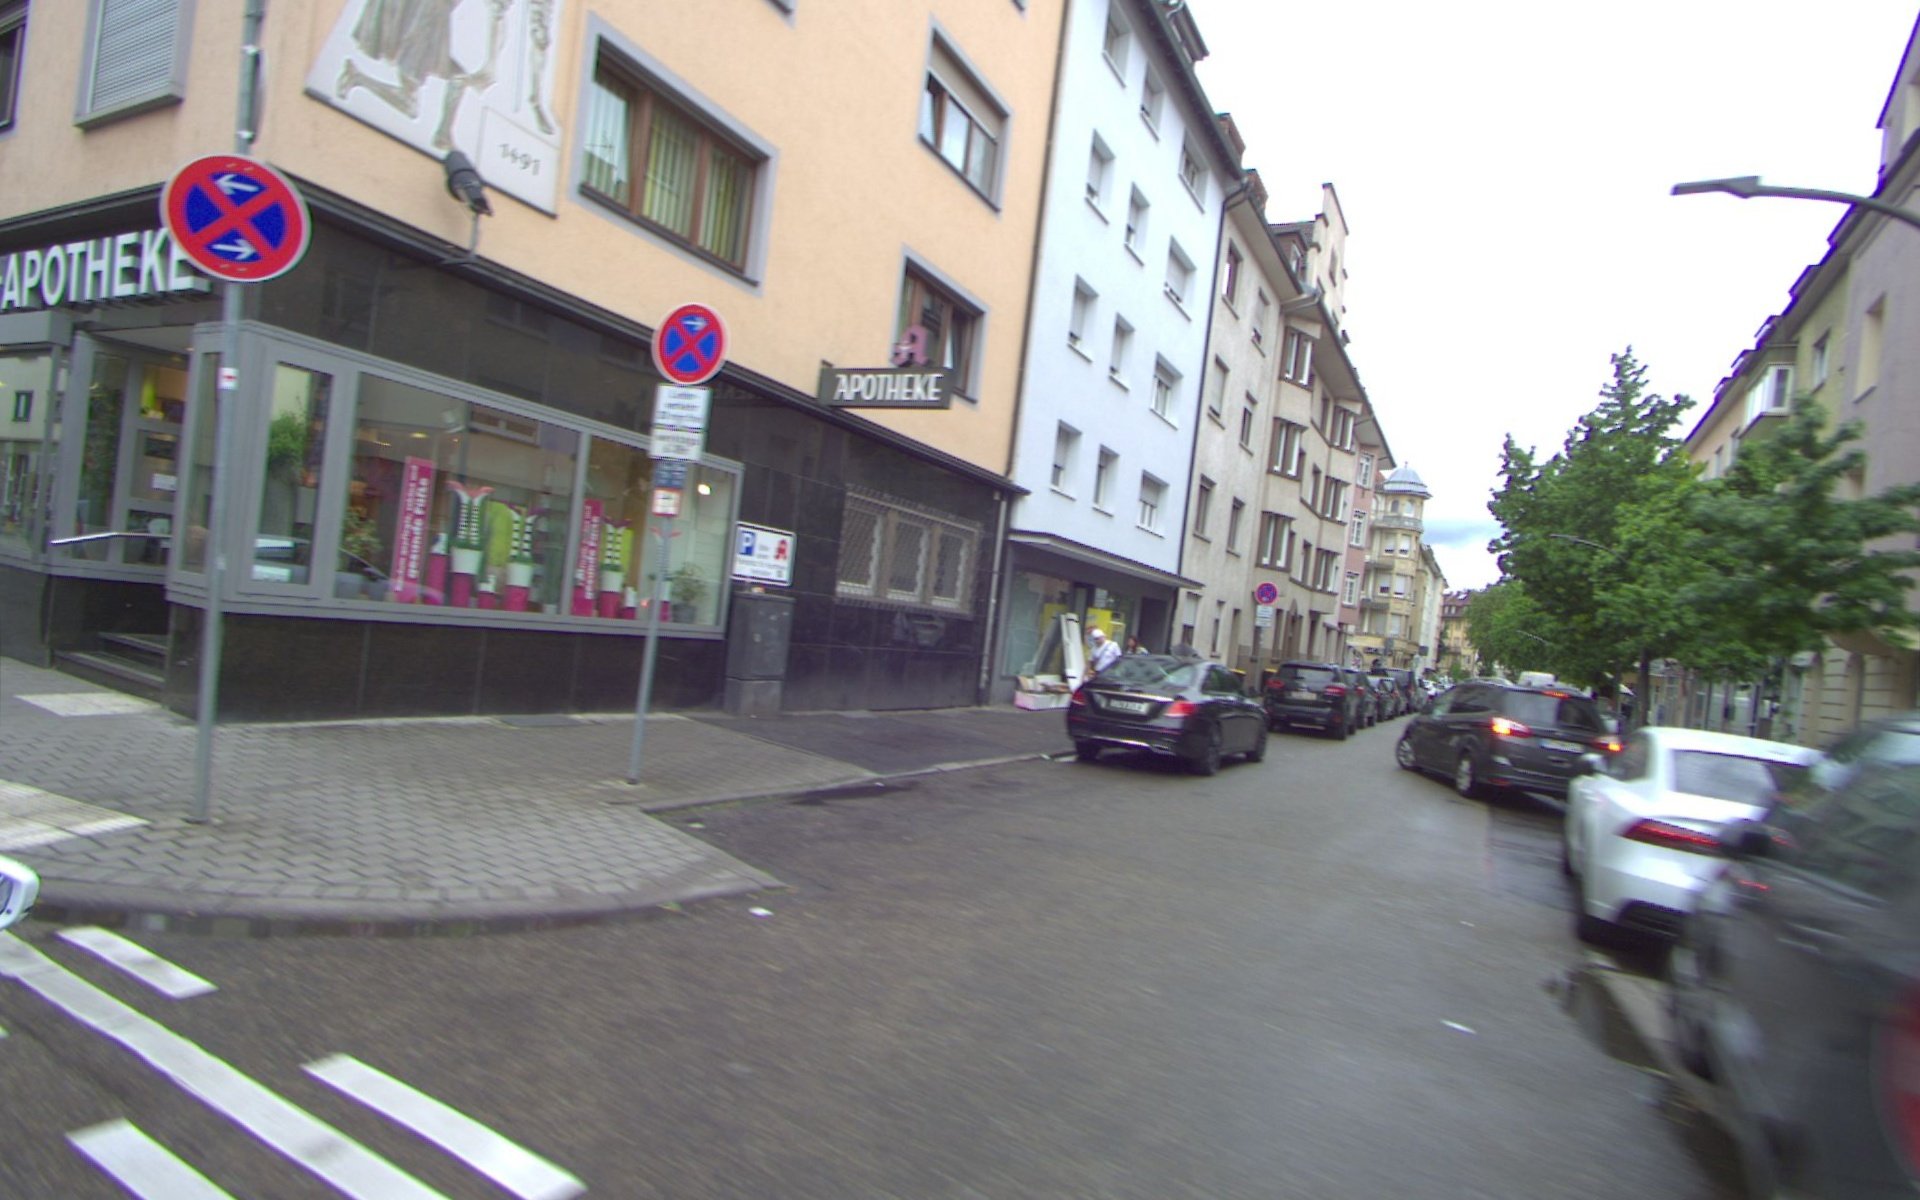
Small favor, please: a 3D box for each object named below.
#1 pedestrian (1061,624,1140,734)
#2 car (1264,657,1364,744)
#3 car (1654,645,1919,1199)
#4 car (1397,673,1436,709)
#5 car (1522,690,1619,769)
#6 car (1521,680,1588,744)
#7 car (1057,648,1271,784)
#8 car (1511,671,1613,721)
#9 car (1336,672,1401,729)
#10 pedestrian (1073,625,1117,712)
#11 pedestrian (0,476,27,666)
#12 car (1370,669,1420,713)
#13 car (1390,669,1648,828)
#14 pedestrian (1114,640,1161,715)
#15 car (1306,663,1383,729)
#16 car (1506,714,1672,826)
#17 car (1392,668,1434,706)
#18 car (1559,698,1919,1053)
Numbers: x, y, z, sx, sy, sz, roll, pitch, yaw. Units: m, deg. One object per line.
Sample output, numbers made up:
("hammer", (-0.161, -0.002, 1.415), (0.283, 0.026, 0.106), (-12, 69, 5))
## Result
("pedestrian", (2.359, 1.306, 16.837), (0.936, 1.688, 0.859), (6, 0, 25))
("car", (8.321, 2.289, 23.479), (1.662, 1.649, 3.727), (6, -1, 26))
("car", (3.220, 1.091, 2.688), (1.905, 1.593, 3.830), (6, -1, 32))
("car", (24.225, 4.793, 53.350), (1.662, 1.587, 3.727), (6, -1, 26))
("car", (15.611, 3.244, 25.911), (1.840, 1.577, 4.074), (6, -1, 29))
("car", (21.991, 4.093, 37.358), (1.840, 1.985, 4.074), (6, -1, 29))
("car", (2.974, 1.505, 13.925), (1.839, 1.368, 4.077), (6, -1, 26))
("car", (31.604, 5.003, 52.913), (3.923, 2.038, 2.001), (6, 0, 7))
("car", (13.784, 3.321, 33.867), (1.662, 1.587, 3.727), (6, -1, 26))
("pedestrian", (2.789, 1.405, 20.736), (0.583, 1.704, 0.537), (6, 0, 26))
("pedestrian", (-8.528, -0.296, 8.375), (0.861, 1.579, 0.770), (6, 0, 28))
("car", (18.798, 3.885, 43.396), (1.662, 1.587, 3.727), (6, -1, 26))
("car", (7.921, 2.009, 14.740), (1.771, 1.637, 4.026), (6, -1, 7))
("pedestrian", (3.488, 1.519, 19.773), (0.615, 1.391, 0.691), (6, 0, 26))
("car", (11.258, 2.751, 29.304), (1.662, 1.587, 3.727), (6, -1, 26))
("car", (10.978, 2.893, 17.849), (1.838, 1.320, 3.933), (6, -1, 24))
("car", (22.116, 4.217, 49.034), (1.662, 1.587, 3.727), (6, -1, 26))
("car", (5.331, 1.554, 6.999), (1.756, 1.459, 4.486), (6, -1, 30))
